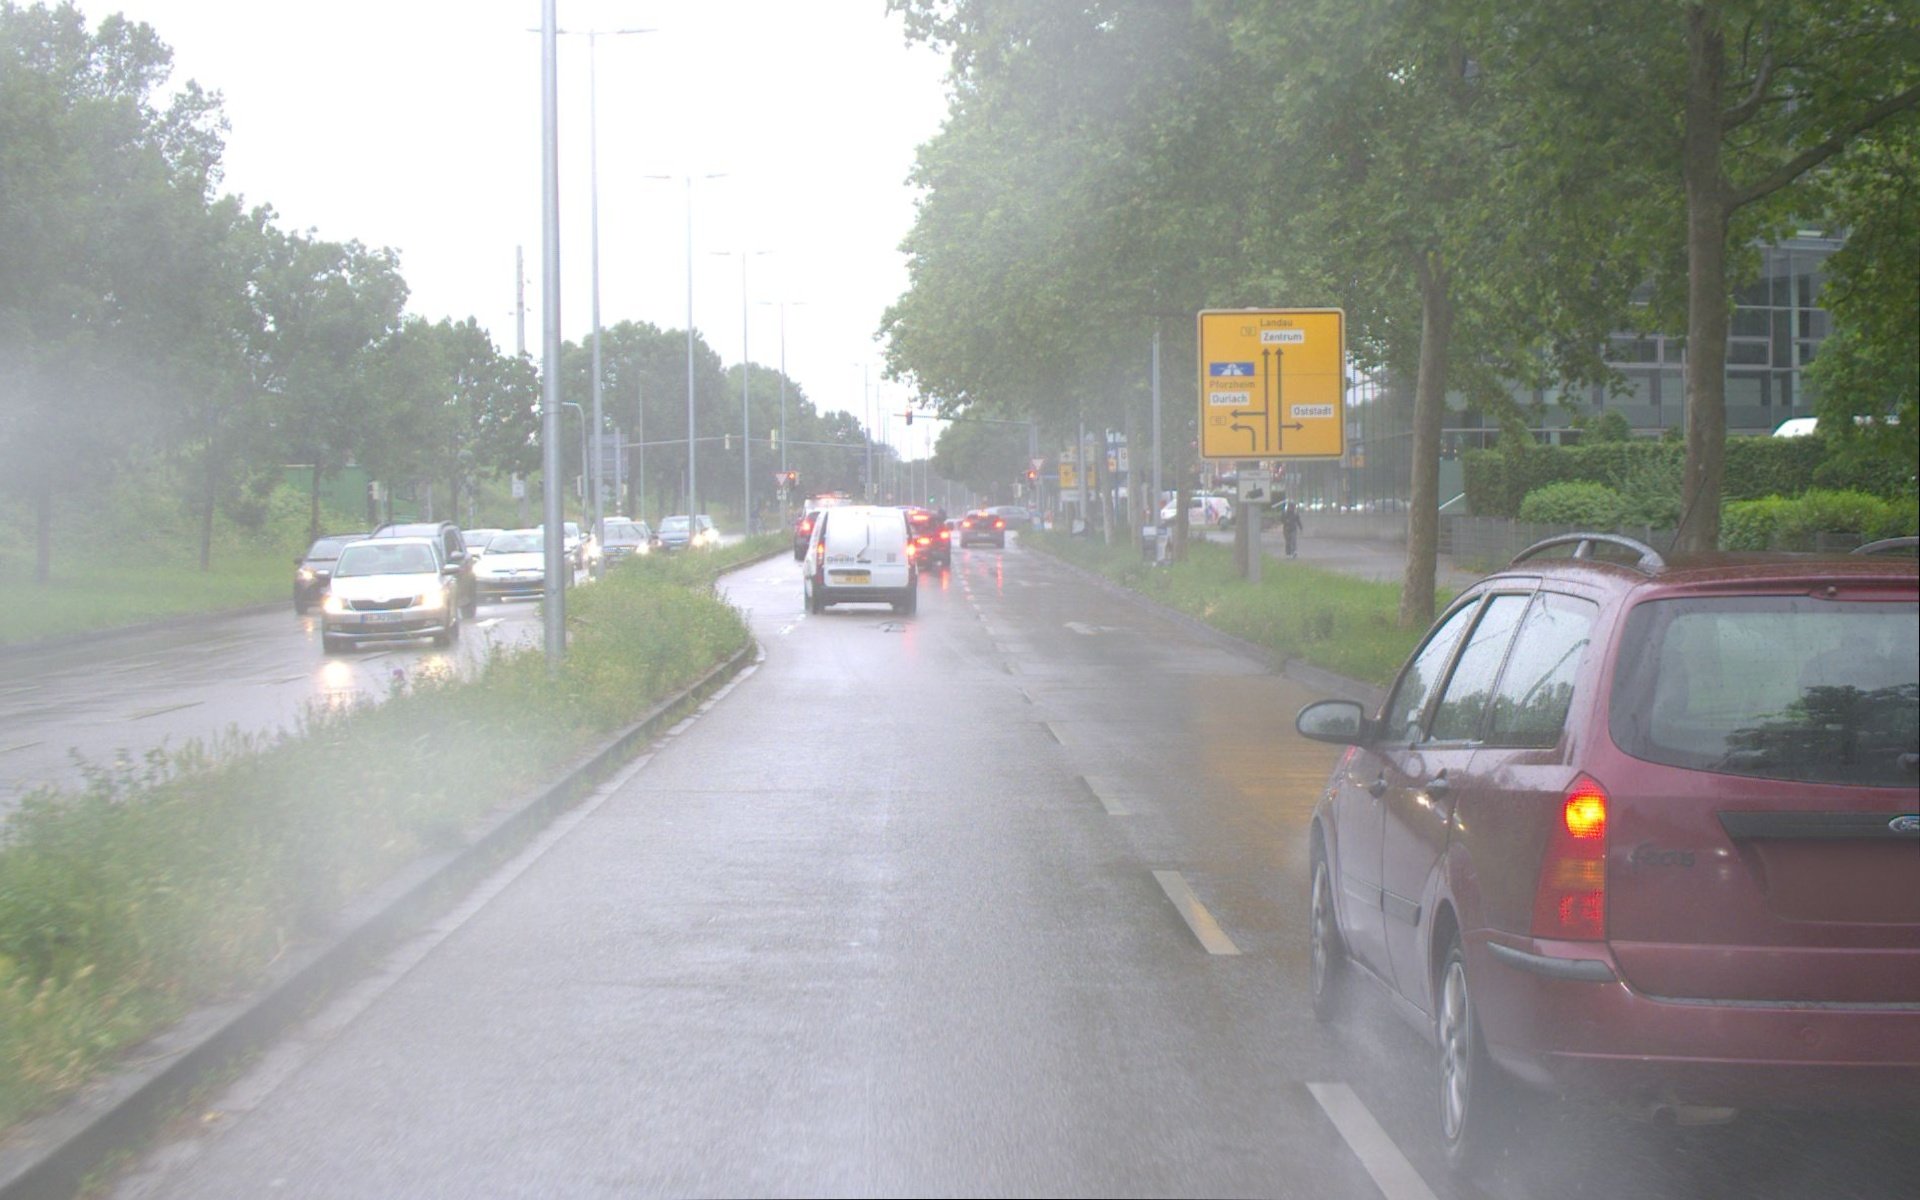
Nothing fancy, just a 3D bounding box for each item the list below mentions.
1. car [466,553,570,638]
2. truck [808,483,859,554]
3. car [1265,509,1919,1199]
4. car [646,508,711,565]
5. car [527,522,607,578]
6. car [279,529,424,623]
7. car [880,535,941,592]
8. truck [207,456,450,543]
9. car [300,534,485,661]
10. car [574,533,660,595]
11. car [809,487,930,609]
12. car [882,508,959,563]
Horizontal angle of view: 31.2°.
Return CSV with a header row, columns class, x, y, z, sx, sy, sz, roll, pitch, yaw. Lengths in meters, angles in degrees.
class,x,y,z,sx,sy,sz,roll,pitch,yaw
car,-9.023,-0.119,70.455,1.908,1.569,4.710,-3,1,-5
truck,-4.495,-2.873,122.090,1.756,2.458,4.001,0,1,-2
car,1.975,0.554,9.105,1.839,1.531,4.112,1,1,-2
car,-9.624,-2.191,117.956,1.824,1.569,4.361,3,5,-1
car,-12.292,-1.588,107.850,1.908,1.569,4.709,-3,1,0
car,-11.899,-0.501,67.506,1.993,1.682,4.709,-2,1,0
car,-1.460,-1.082,100.212,1.708,1.544,4.001,0,2,-2
truck,-27.006,-4.245,147.450,10.110,3.440,2.658,0,0,-37
car,-7.658,-0.072,46.734,1.898,1.607,4.112,-1,1,-2
car,-9.589,-1.023,96.376,1.908,1.569,4.709,-3,1,0
car,-1.564,-0.852,58.673,1.993,2.007,4.000,0,0,-2
car,-1.101,-1.772,93.837,1.993,1.447,4.001,1,1,-2
